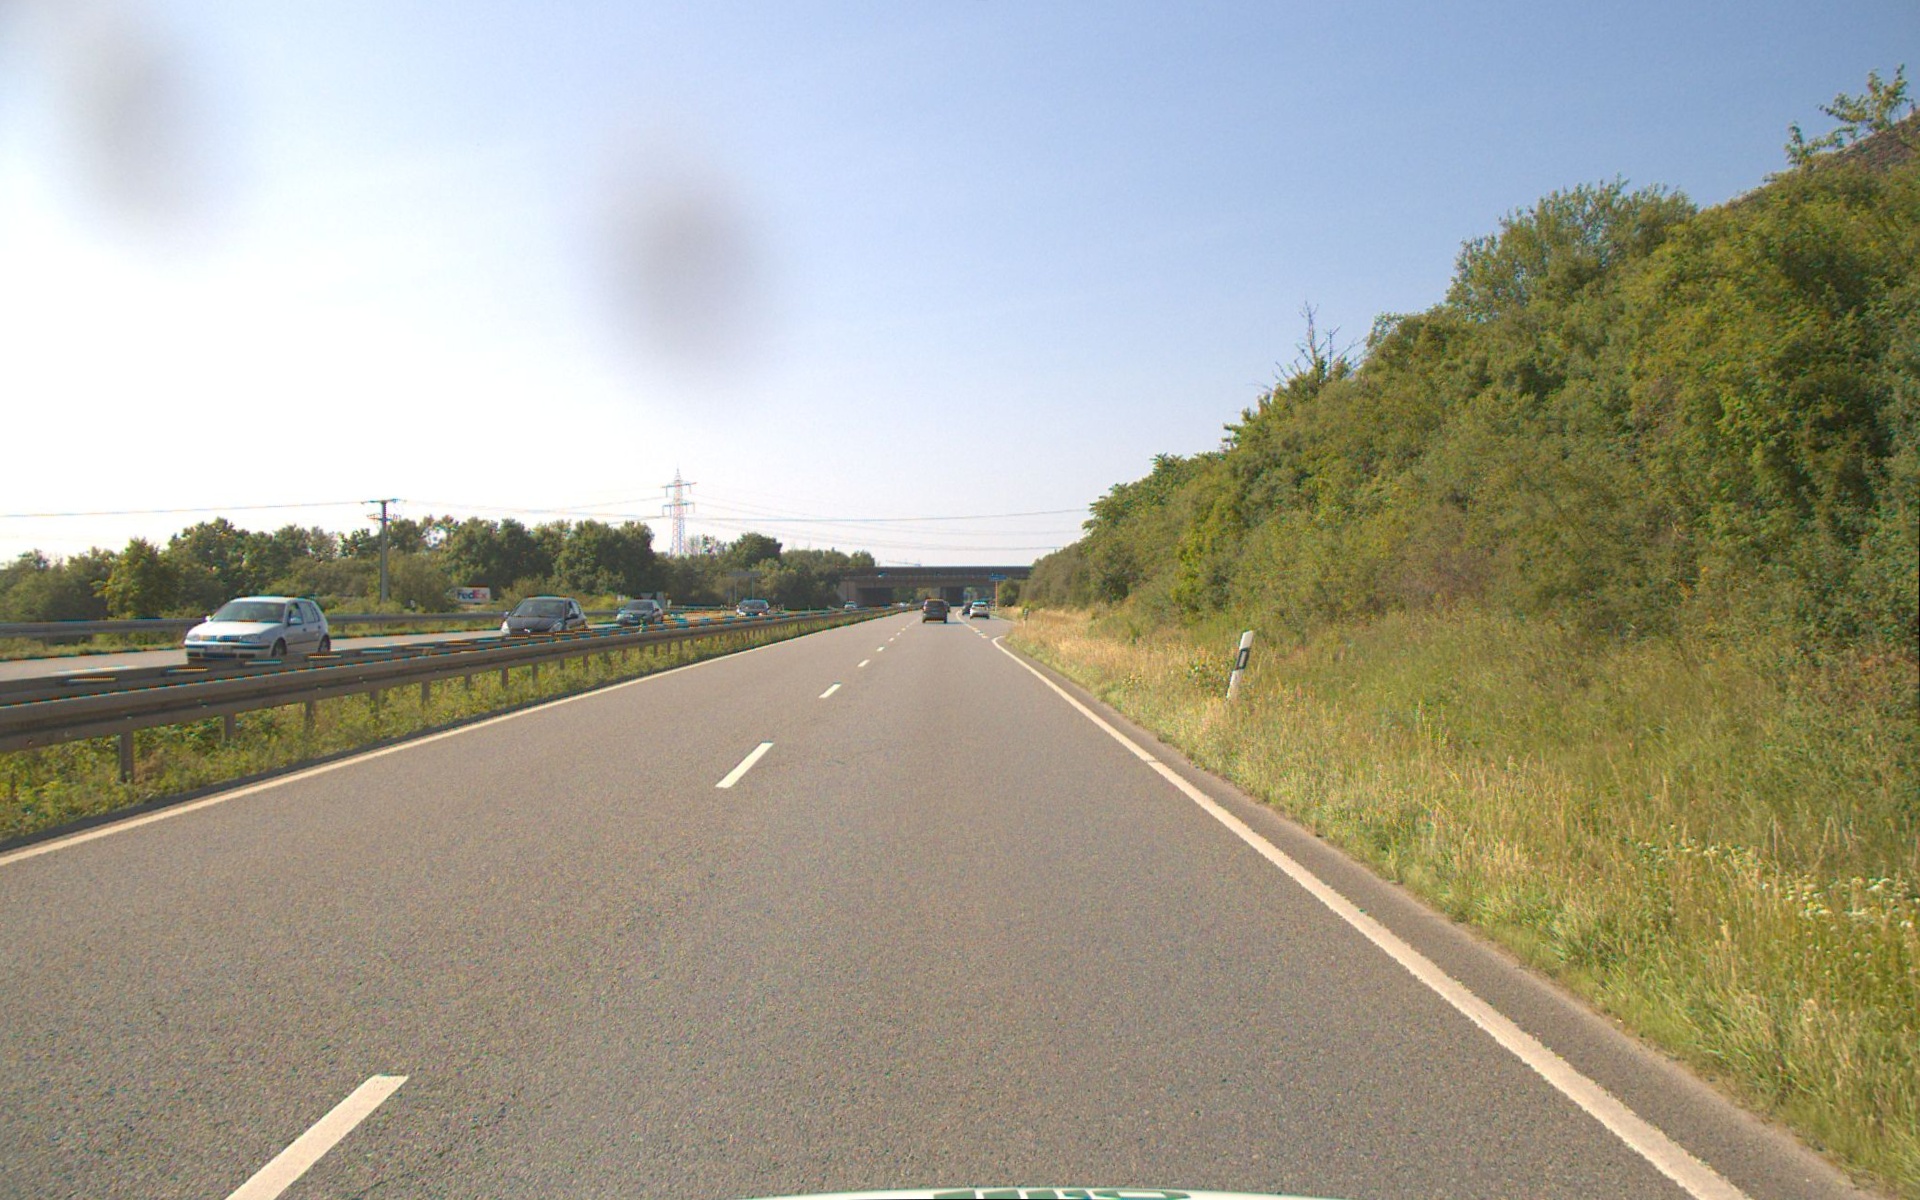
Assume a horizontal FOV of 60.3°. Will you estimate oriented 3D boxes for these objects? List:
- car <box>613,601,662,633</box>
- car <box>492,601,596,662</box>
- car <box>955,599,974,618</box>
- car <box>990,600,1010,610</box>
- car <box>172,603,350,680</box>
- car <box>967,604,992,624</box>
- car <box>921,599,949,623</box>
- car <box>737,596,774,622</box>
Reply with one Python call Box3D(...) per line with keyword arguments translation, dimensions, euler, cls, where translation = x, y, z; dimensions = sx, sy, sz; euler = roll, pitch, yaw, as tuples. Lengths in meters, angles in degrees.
Box3D(translation=(-15.805, 0.818, 81.237), dimensions=(1.678, 1.475, 4.321), euler=(-1, 0, -2), cls="car")
Box3D(translation=(-10.976, 0.788, 43.942), dimensions=(1.678, 1.496, 4.414), euler=(1, 0, -1), cls="car")
Box3D(translation=(0.511, 0.927, 182.909), dimensions=(1.953, 2.048, 3.999), euler=(-3, 0, -1), cls="car")
Box3D(translation=(5.463, 0.675, 224.284), dimensions=(1.861, 1.320, 4.003), euler=(1, 0, 13), cls="car")
Box3D(translation=(-14.218, 0.807, 33.931), dimensions=(1.784, 1.420, 4.415), euler=(1, 0, -1), cls="car")
Box3D(translation=(1.732, 1.252, 147.513), dimensions=(1.758, 1.694, 4.003), euler=(1, 0, 7), cls="car")
Box3D(translation=(-1.749, 0.757, 116.911), dimensions=(1.811, 1.673, 4.001), euler=(-1, 0, 2), cls="car")
Box3D(translation=(-12.454, 0.558, 100.929), dimensions=(1.778, 1.499, 4.322), euler=(1, 0, -1), cls="car")
